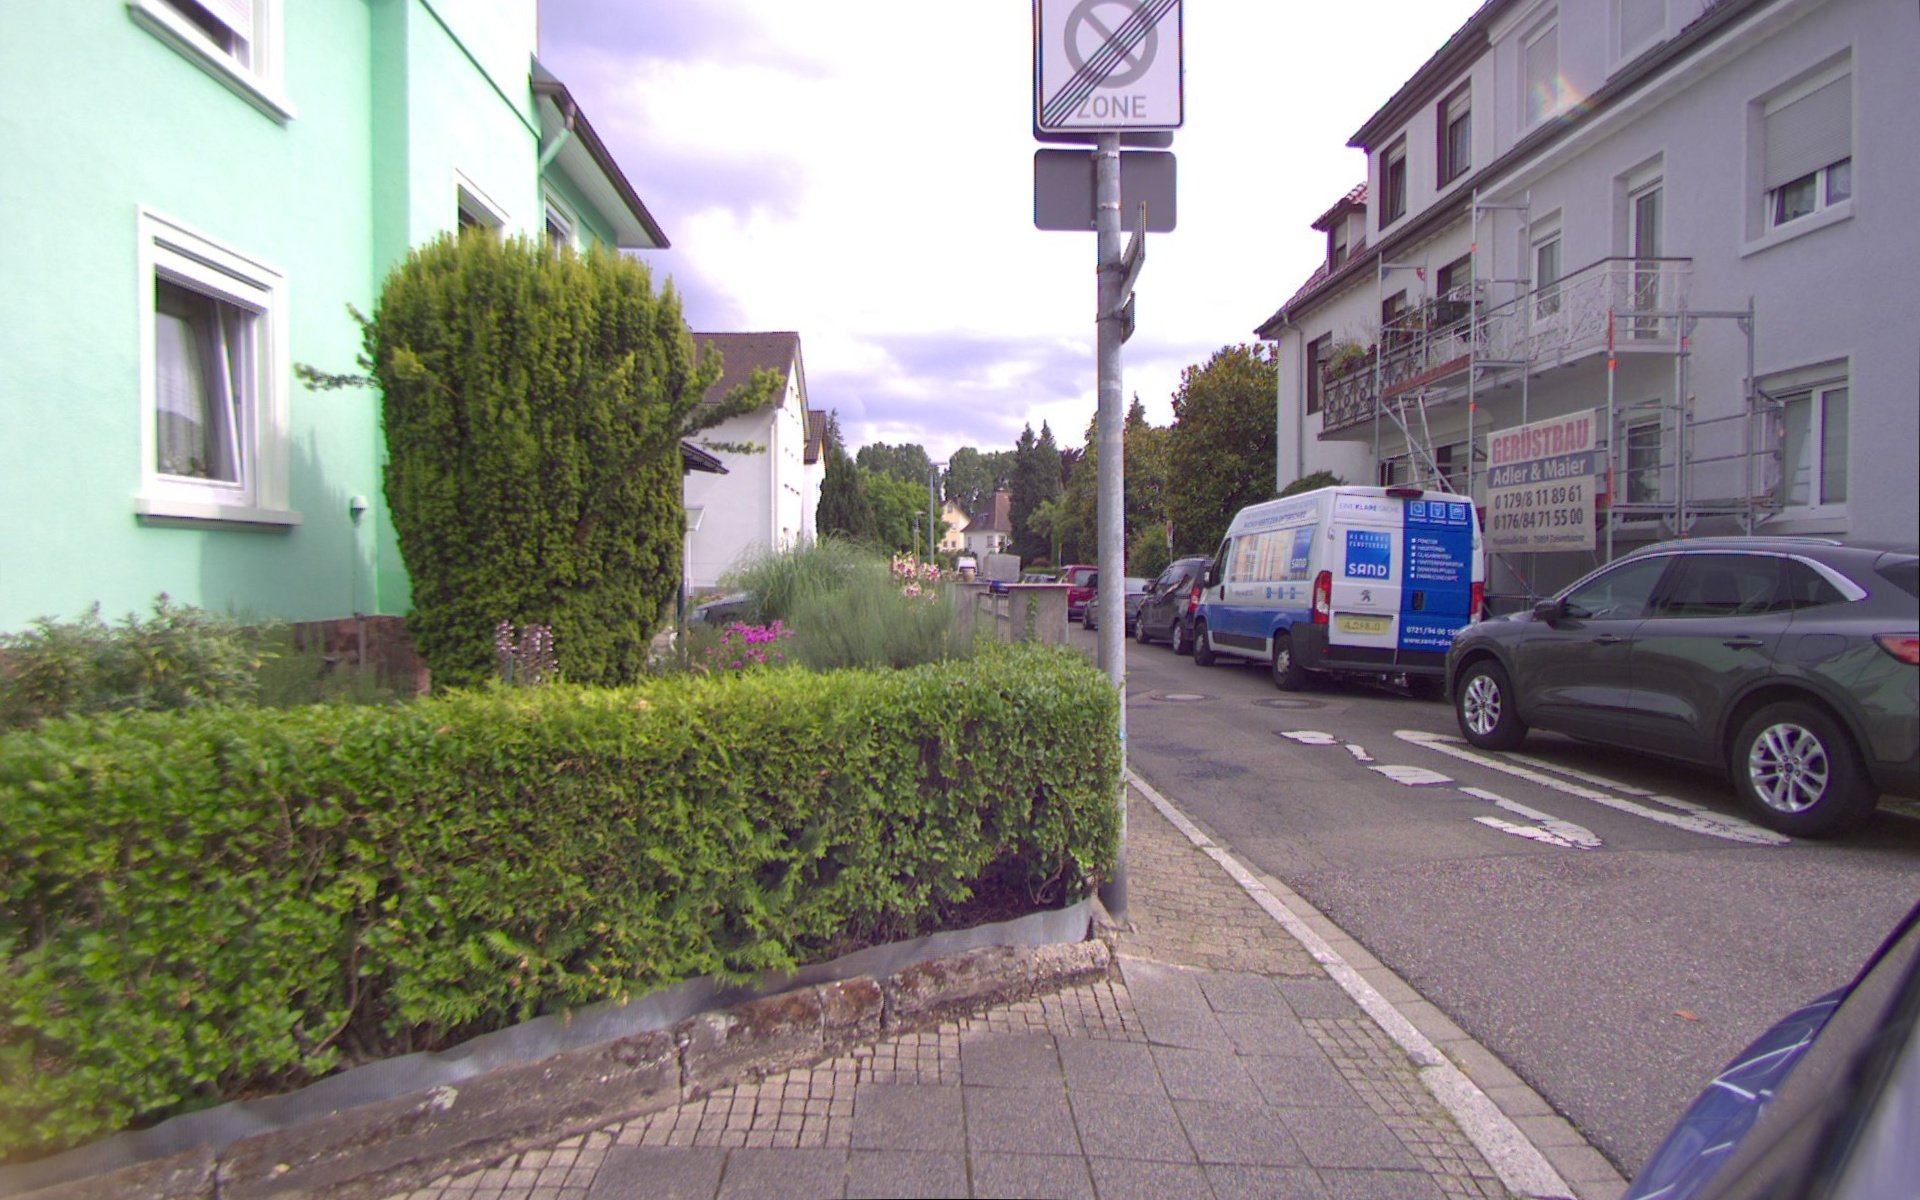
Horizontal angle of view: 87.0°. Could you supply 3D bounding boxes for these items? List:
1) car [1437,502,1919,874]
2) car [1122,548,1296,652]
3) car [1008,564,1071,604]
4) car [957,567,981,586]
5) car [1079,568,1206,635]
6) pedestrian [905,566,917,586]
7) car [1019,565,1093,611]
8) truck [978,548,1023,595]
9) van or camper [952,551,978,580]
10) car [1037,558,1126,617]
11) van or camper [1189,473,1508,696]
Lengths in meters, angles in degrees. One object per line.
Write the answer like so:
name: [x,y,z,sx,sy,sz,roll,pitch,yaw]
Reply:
car: [5.303,0.343,6.638,1.960,1.748,4.348,0,2,-5]
car: [4.683,-0.081,19.785,1.960,1.794,4.348,0,2,-5]
car: [3.371,-0.727,43.643,1.960,1.610,4.348,0,2,-5]
car: [0.705,-1.891,80.244,1.791,1.393,4.003,0,2,-2]
car: [4.348,-0.036,24.842,1.960,1.473,4.348,0,2,-5]
pedestrian: [-3.291,-1.623,67.958,0.650,1.340,0.755,0,2,-10]
car: [3.520,-0.512,38.000,1.960,1.610,4.348,0,2,-5]
truck: [2.386,-1.695,60.434,2.094,2.690,4.590,0,2,-5]
van or camper: [0.434,-3.147,92.819,2.106,2.572,5.019,0,2,-3]
car: [3.849,-0.450,32.737,1.960,1.771,4.348,0,2,-5]
van or camper: [4.927,-0.262,13.874,2.156,2.489,5.059,0,2,-3]
